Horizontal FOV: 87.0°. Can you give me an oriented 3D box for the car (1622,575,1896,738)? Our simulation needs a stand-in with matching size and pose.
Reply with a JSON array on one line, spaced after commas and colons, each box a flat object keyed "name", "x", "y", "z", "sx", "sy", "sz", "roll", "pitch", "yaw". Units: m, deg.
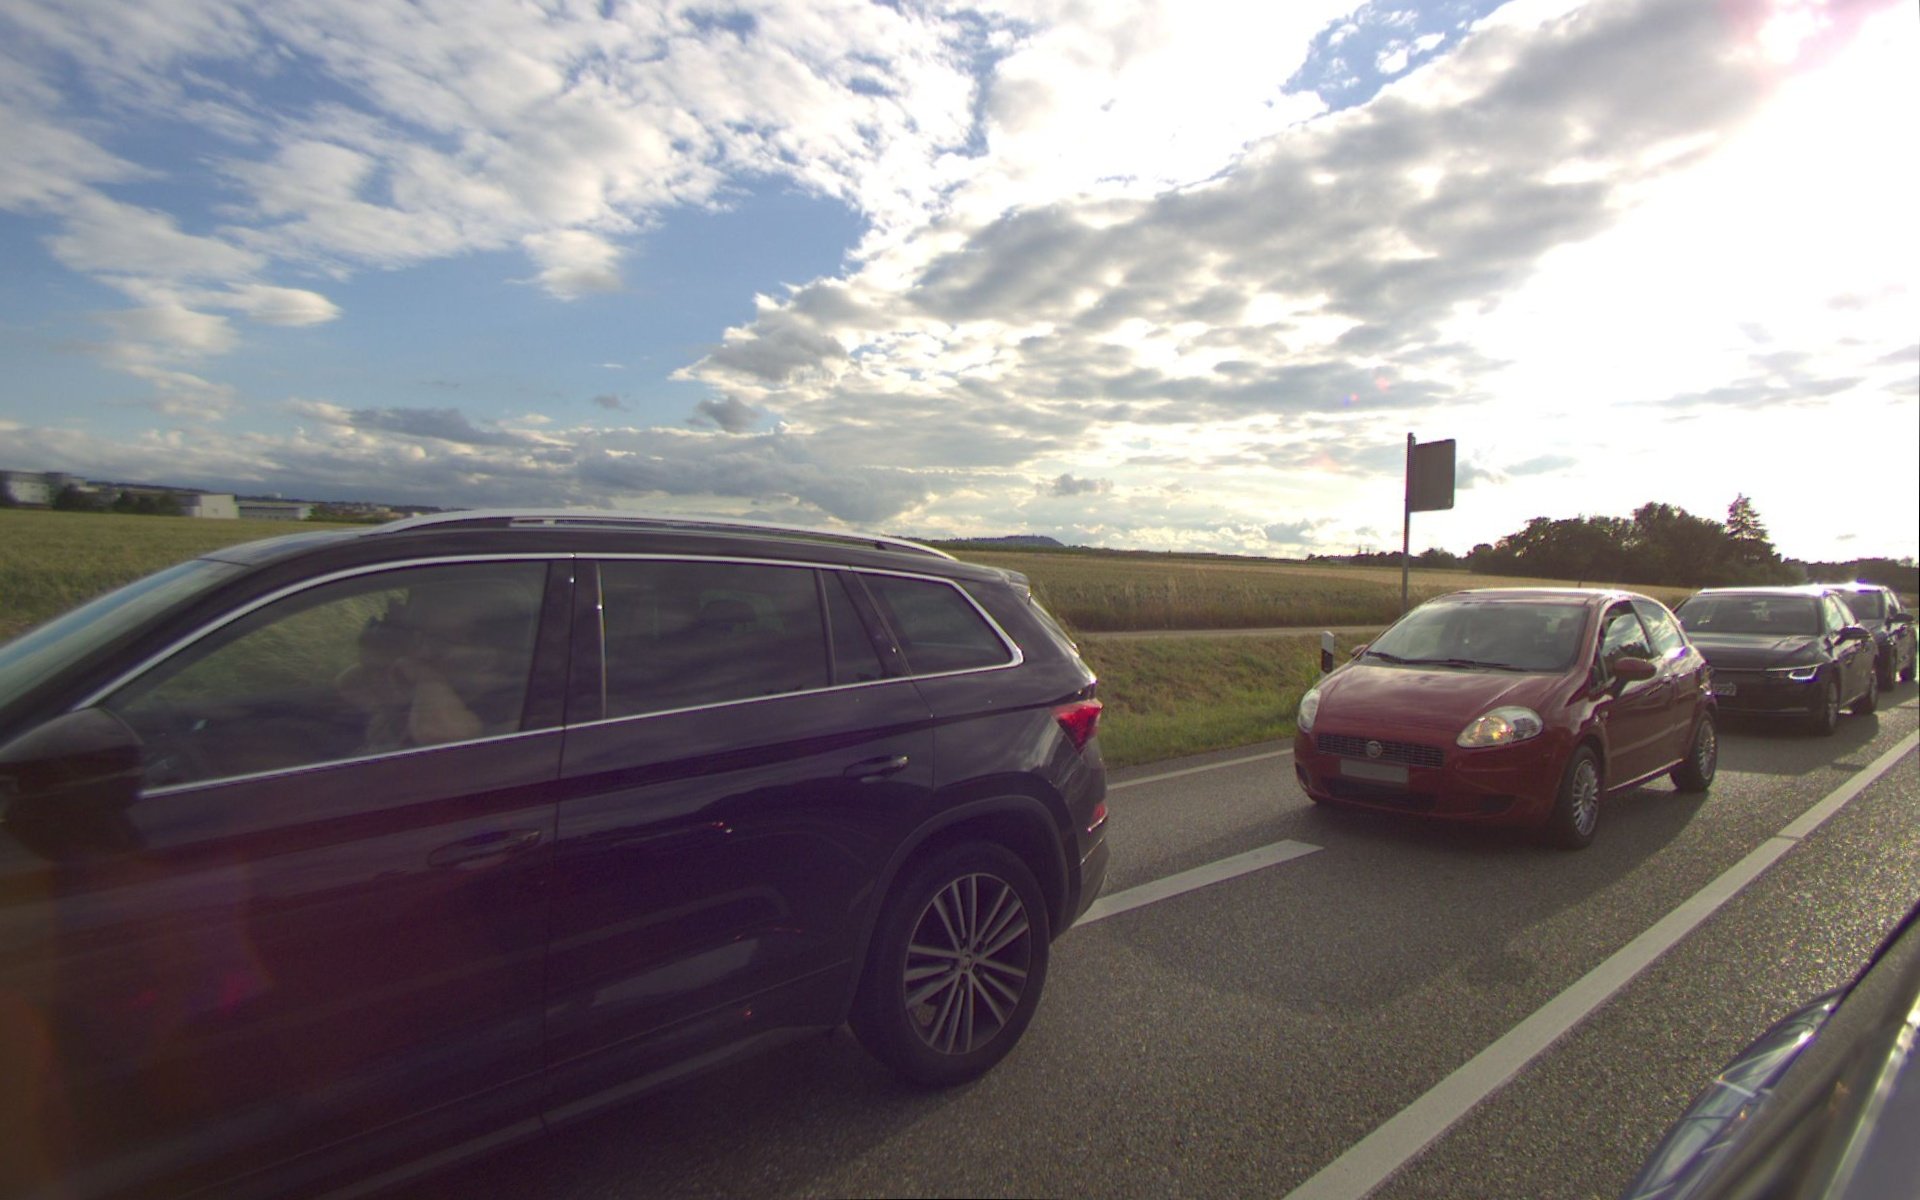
[{"name": "car", "x": 8.894, "y": 0.492, "z": 11.167, "sx": 3.798, "sy": 1.494, "sz": 1.722, "roll": -1, "pitch": 1, "yaw": -41}]

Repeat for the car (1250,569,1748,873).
[{"name": "car", "x": 3.783, "y": 0.570, "z": 6.840, "sx": 3.797, "sy": 1.494, "sz": 1.668, "roll": -1, "pitch": 1, "yaw": -40}]

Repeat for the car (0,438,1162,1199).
[{"name": "car", "x": -1.483, "y": 0.576, "z": 2.760, "sx": 4.342, "sy": 1.688, "sz": 1.722, "roll": -1, "pitch": 1, "yaw": -41}]

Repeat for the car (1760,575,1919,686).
[{"name": "car", "x": 13.559, "y": 0.386, "z": 15.353, "sx": 3.414, "sy": 1.494, "sz": 1.629, "roll": -1, "pitch": 1, "yaw": -41}]
